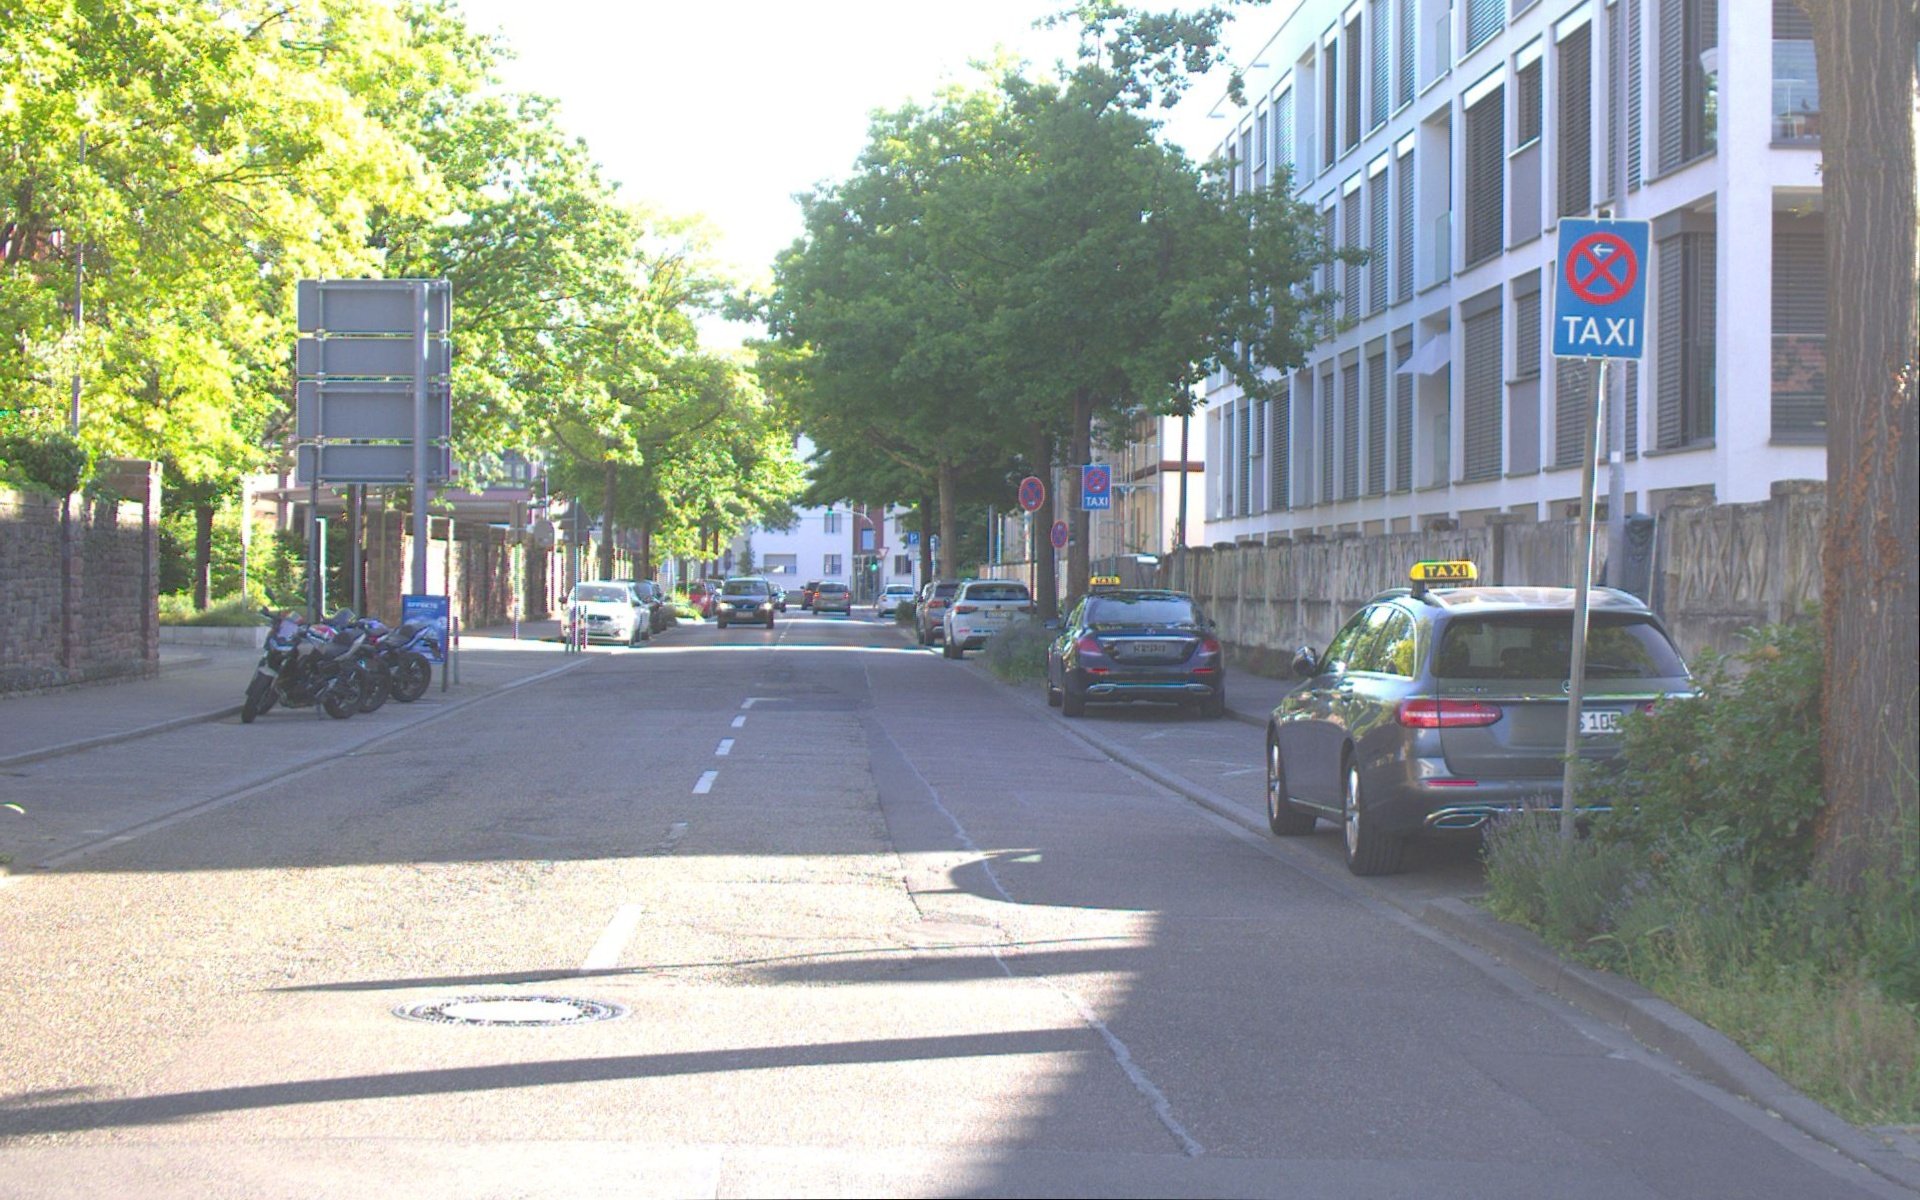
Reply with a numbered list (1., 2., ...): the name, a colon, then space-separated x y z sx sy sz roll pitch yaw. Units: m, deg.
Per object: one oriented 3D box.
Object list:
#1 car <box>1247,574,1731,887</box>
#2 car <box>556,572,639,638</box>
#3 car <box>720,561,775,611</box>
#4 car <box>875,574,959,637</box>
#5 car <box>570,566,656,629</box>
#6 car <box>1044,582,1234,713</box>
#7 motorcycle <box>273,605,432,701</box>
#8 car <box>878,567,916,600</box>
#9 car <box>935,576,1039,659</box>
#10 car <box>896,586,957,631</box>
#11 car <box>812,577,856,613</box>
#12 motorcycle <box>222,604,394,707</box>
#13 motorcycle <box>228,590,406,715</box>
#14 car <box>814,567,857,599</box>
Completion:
1. car: 2.747 0.610 18.941 1.703 1.463 4.789 1 1 -3
2. car: -8.492 0.093 80.808 1.767 1.482 4.001 0 1 -3
3. car: -6.722 -0.458 108.989 1.653 1.525 4.000 1 1 -2
4. car: -1.076 0.117 84.696 1.993 1.460 3.837 1 1 -1
5. car: -8.724 -0.074 86.801 1.907 1.525 4.000 1 1 -2
6. car: 2.041 0.518 40.211 1.767 1.435 4.001 0 1 -3
7. motorcycle: -7.131 0.609 40.453 0.577 1.071 2.118 1 1 31
8. car: -2.751 -0.742 149.985 1.585 1.395 3.837 1 1 -1
9. car: 0.517 0.331 68.985 1.950 1.573 3.837 1 1 -1
10. car: -1.149 0.273 115.803 1.993 1.420 3.837 1 1 -1
11. car: -5.673 -0.244 154.292 1.766 1.543 4.067 0 1 -5
12. motorcycle: -7.104 0.590 37.575 0.577 1.071 2.118 1 1 31
13. motorcycle: -6.793 0.535 36.424 0.577 1.271 2.118 1 1 31
14. car: -5.572 -0.782 154.187 1.889 1.395 3.837 1 1 -1
